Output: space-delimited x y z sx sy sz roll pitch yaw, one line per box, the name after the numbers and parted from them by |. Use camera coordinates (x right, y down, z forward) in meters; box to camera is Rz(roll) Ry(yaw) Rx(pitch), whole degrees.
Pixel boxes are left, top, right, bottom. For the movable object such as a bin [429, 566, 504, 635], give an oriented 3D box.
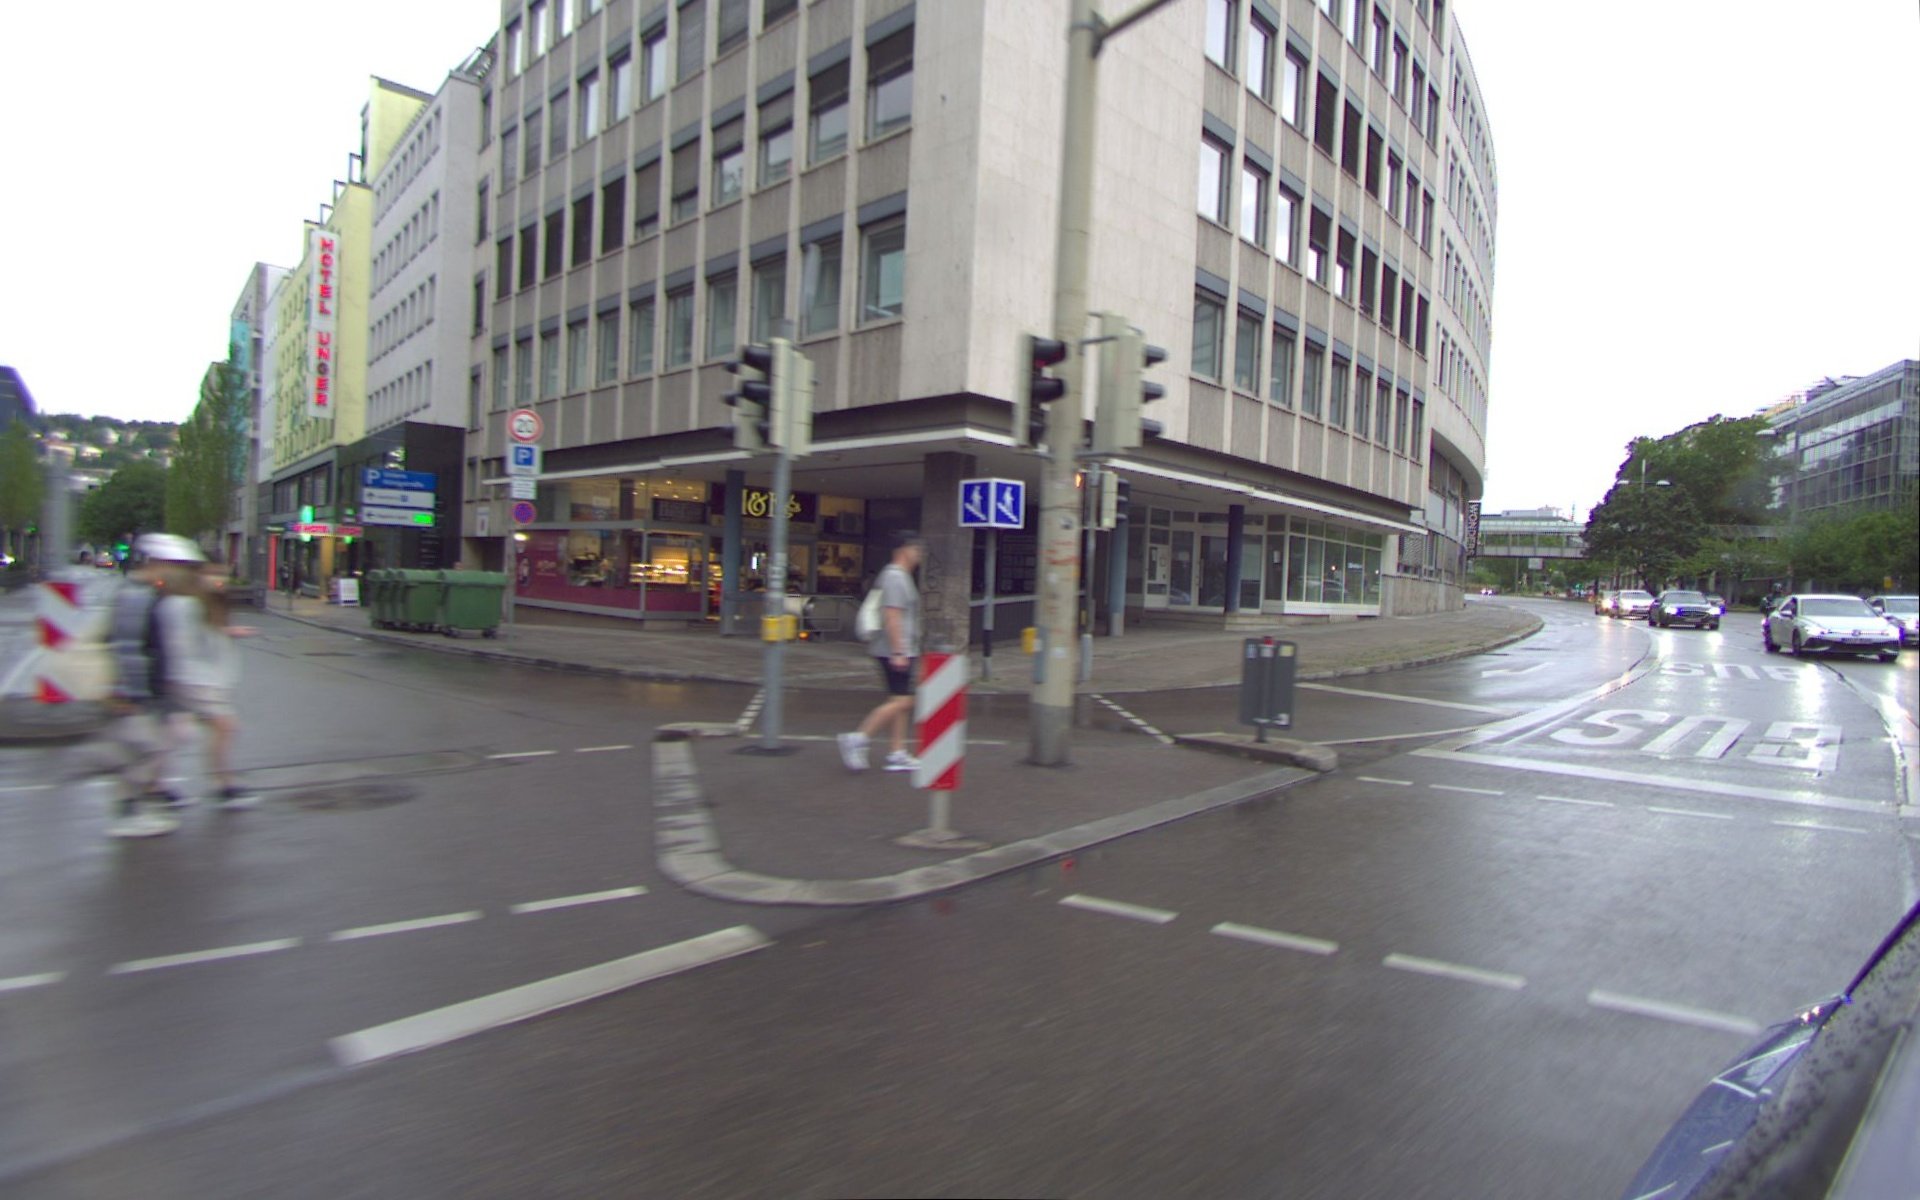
-10.736 0.005 22.032 1.258 1.447 0.968 1 1 -40 | movable object such as a bin

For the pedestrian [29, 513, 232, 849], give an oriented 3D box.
-4.434 0.400 5.458 0.639 1.676 0.672 1 1 -18 | pedestrian

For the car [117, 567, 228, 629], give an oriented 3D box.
-20.225 -0.103 25.928 3.984 1.447 1.552 2 2 42 | car

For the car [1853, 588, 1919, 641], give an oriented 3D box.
26.867 0.367 28.360 1.760 1.398 4.057 1 1 27 | car

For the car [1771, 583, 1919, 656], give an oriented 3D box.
20.723 0.406 23.724 1.913 1.498 3.961 2 1 28 | car

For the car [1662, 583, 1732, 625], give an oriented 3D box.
29.046 0.120 40.011 1.986 1.483 4.353 1 2 33 | car

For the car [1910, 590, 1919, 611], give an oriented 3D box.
72.506 0.061 74.890 1.978 1.526 3.968 1 1 24 | car

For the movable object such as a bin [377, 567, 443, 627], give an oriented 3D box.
-13.301 -0.077 24.468 1.177 1.400 1.103 1 1 -39 | movable object such as a bin

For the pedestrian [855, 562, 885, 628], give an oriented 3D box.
-2.507 -0.143 28.187 0.696 1.826 0.802 1 1 -13 | pedestrian

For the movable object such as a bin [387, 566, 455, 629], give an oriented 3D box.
-12.542 -0.058 23.555 1.177 1.400 1.103 1 1 -39 | movable object such as a bin

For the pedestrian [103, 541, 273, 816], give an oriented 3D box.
-4.654 0.439 6.144 0.639 1.562 0.627 1 1 -18 | pedestrian

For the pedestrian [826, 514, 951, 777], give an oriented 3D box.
-0.539 0.310 7.427 0.757 1.816 0.672 1 1 -18 | pedestrian

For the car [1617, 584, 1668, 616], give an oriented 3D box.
34.916 -0.042 51.839 1.707 1.483 3.998 1 2 28 | car

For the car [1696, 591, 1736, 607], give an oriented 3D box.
68.954 -0.083 92.365 1.729 1.390 3.975 1 1 19 | car

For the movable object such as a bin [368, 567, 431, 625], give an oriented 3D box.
-14.038 -0.111 25.353 1.177 1.400 1.103 1 1 -39 | movable object such as a bin

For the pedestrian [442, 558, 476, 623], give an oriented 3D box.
-13.691 -0.261 27.670 0.770 1.753 0.587 2 1 43 | pedestrian
